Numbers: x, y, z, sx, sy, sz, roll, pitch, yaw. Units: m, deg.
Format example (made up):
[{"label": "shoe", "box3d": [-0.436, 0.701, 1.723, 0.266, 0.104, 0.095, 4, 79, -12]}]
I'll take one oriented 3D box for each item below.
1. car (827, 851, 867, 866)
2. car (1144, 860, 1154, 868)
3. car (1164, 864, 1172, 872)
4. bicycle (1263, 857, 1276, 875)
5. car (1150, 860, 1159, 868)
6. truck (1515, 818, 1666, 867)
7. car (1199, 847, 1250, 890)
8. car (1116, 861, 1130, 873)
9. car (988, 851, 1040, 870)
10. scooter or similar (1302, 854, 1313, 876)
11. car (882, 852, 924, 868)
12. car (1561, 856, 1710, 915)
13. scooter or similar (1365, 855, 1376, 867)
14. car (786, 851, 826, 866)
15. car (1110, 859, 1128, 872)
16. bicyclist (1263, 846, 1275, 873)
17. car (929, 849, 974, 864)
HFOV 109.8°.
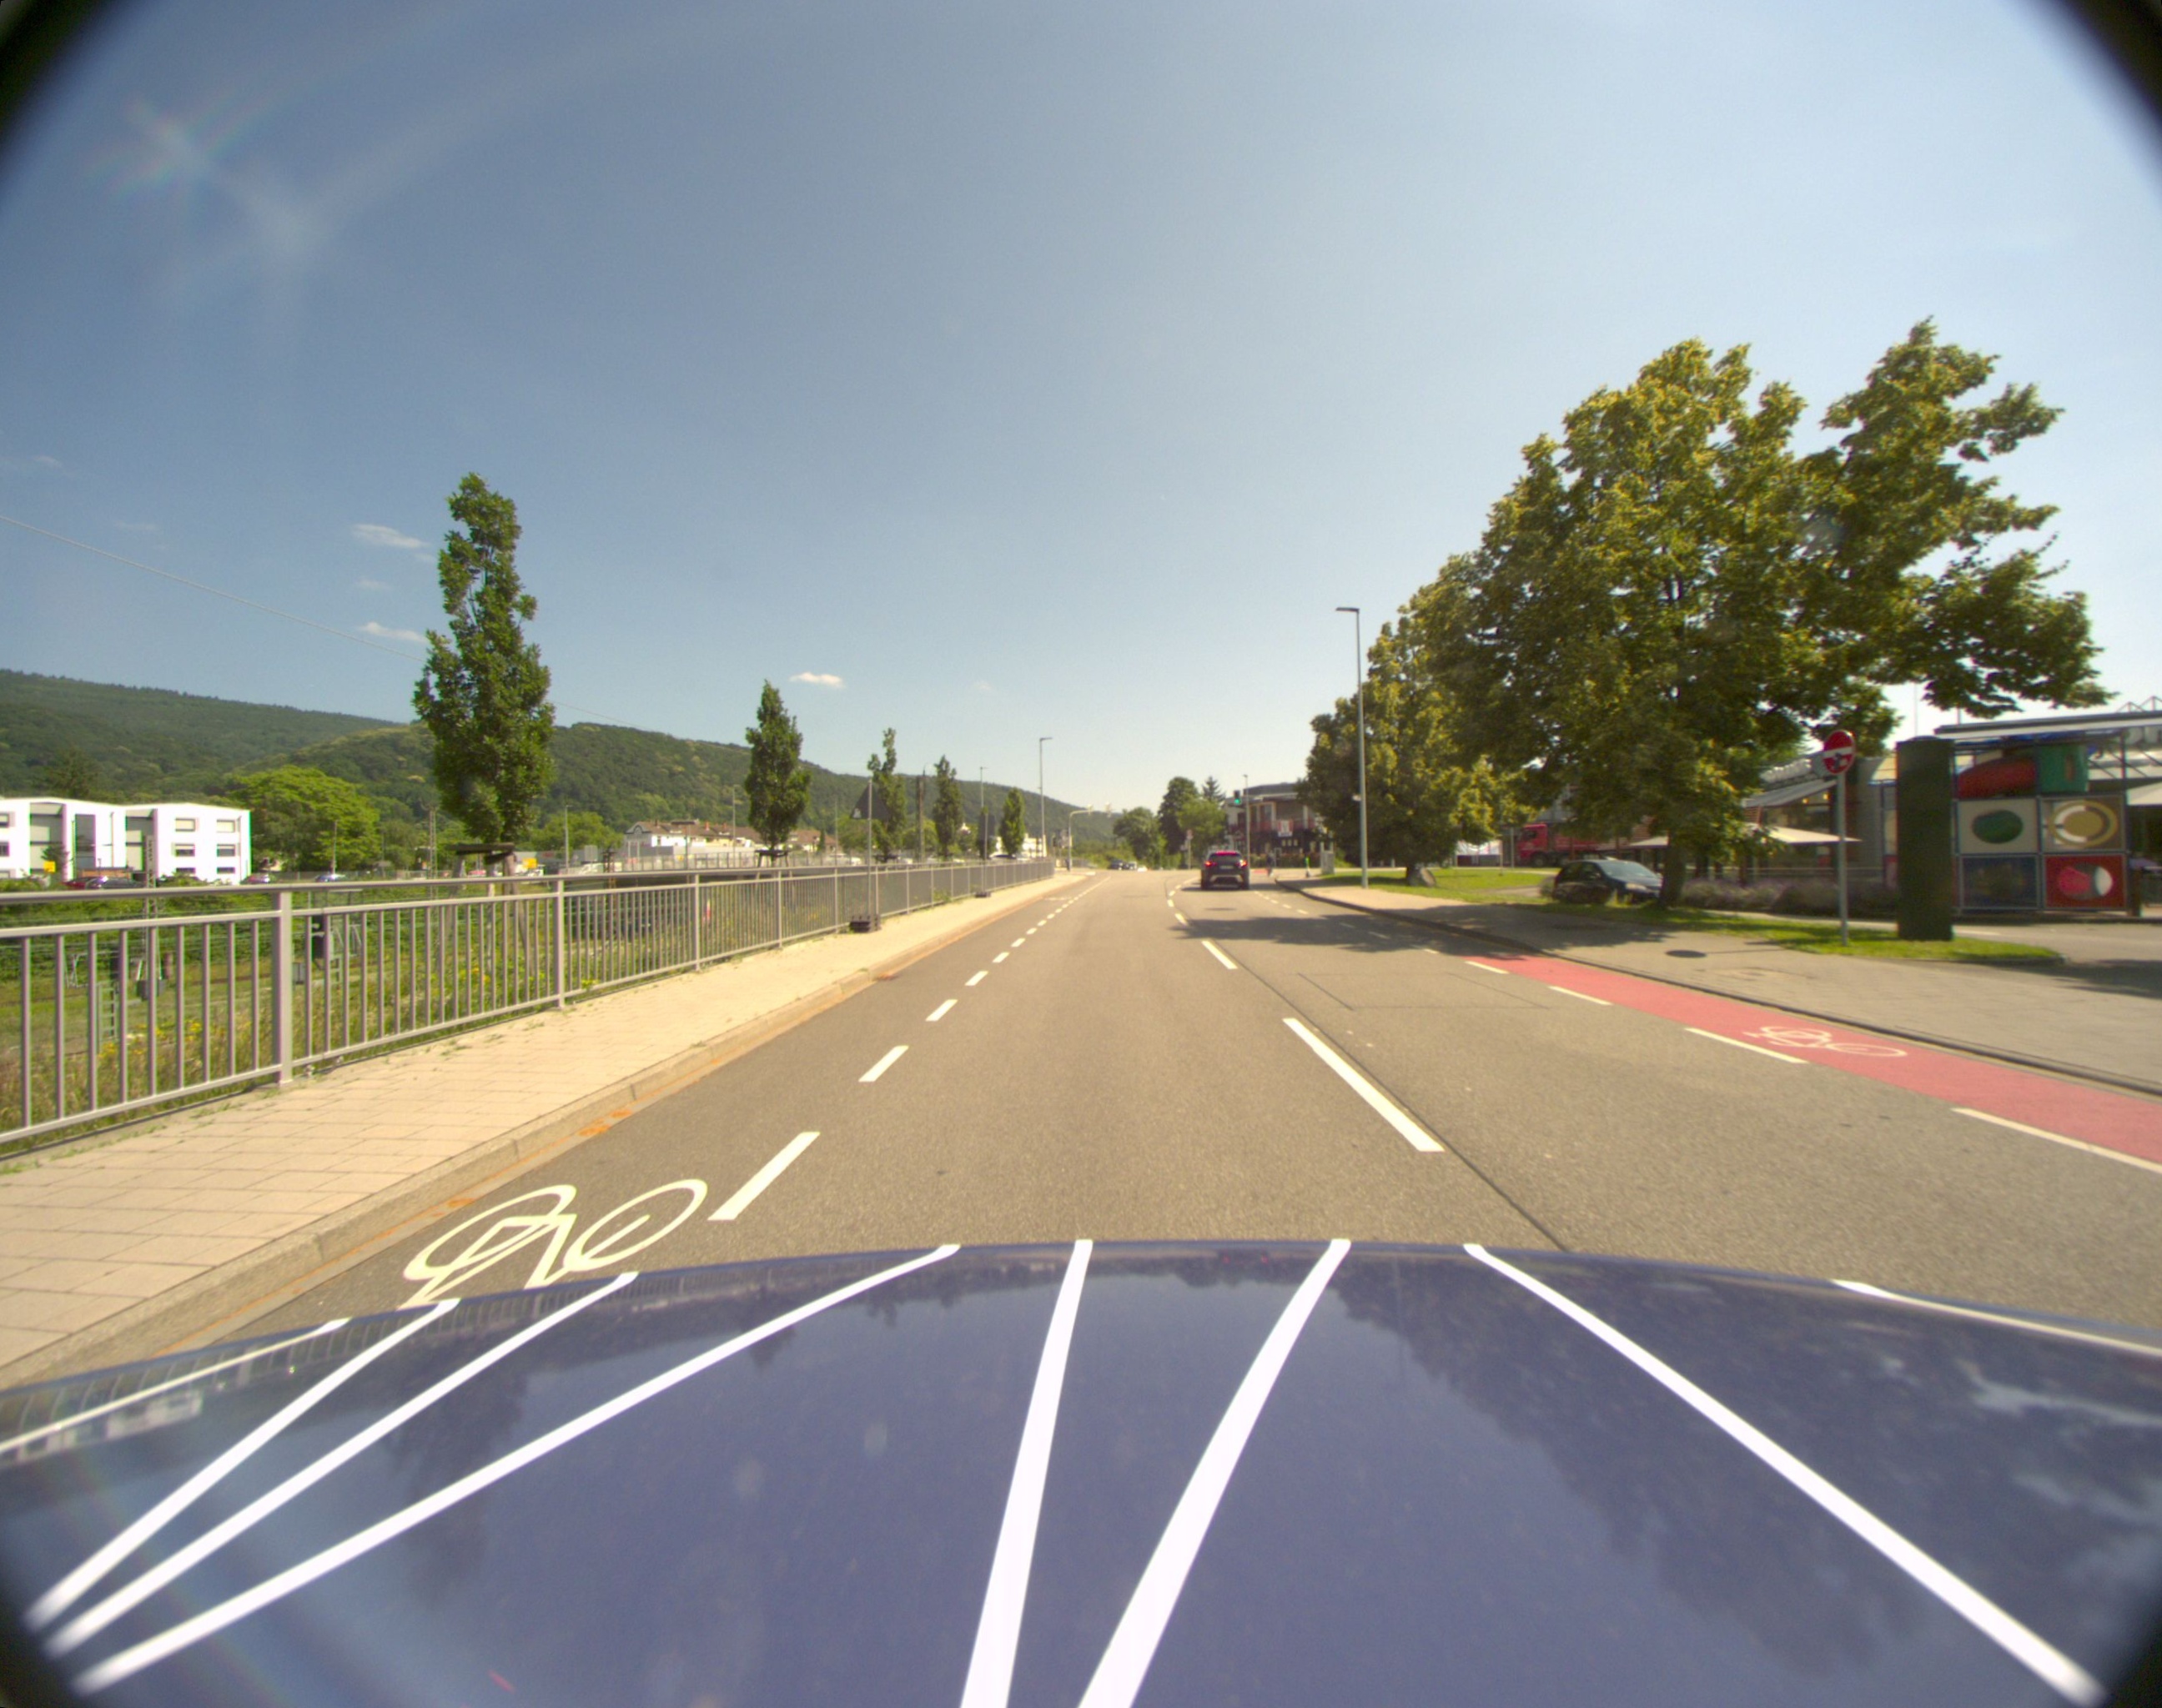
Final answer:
[{"label": "car", "box3d": [-27.146, 0.489, 87.980, 4.431, 1.617, 1.739, -1, 2, 27]}, {"label": "car", "box3d": [12.086, 1.810, 134.759, 1.671, 1.427, 4.002, -1, 0, 6]}, {"label": "car", "box3d": [18.468, 2.943, 161.708, 1.671, 1.524, 4.002, -1, 0, 6]}, {"label": "bicycle", "box3d": [12.289, 0.766, 49.554, 0.698, 1.098, 1.757, 1, 0, 17]}, {"label": "car", "box3d": [14.015, 1.945, 144.715, 1.671, 1.427, 4.002, -1, 0, 6]}, {"label": "truck", "box3d": [38.178, -0.808, 57.479, 9.144, 3.366, 3.321, -1, 0, 28]}, {"label": "car", "box3d": [5.998, 0.583, 32.192, 1.953, 1.685, 4.616, -1, 0, 9]}, {"label": "car", "box3d": [5.844, 1.797, 105.254, 1.671, 1.524, 4.002, -1, 0, 6]}, {"label": "car", "box3d": [-6.498, 0.614, 73.382, 4.621, 1.709, 2.004, -1, 0, 25]}, {"label": "scooter or similar", "box3d": [12.140, 0.585, 40.687, 0.472, 1.177, 1.367, -1, 0, 13]}, {"label": "car", "box3d": [-19.814, 0.671, 84.573, 4.431, 1.617, 1.739, -1, 2, 27]}, {"label": "car", "box3d": [16.028, 0.857, 22.270, 1.863, 1.543, 4.191, -1, 0, 10]}, {"label": "scooter or similar", "box3d": [27.105, 0.620, 71.167, 0.499, 1.117, 1.507, 0, 0, 37]}, {"label": "car", "box3d": [-32.889, 0.559, 90.763, 4.432, 1.617, 1.739, -1, 0, 22]}, {"label": "car", "box3d": [5.058, 1.476, 100.260, 1.828, 1.617, 4.240, -1, 0, 9]}, {"label": "bicyclist", "box3d": [12.260, 0.353, 49.504, 0.711, 1.778, 0.810, -1, 0, 17]}, {"label": "car", "box3d": [-13.821, 0.319, 81.162, 4.400, 1.461, 1.739, -1, 2, 22]}]
